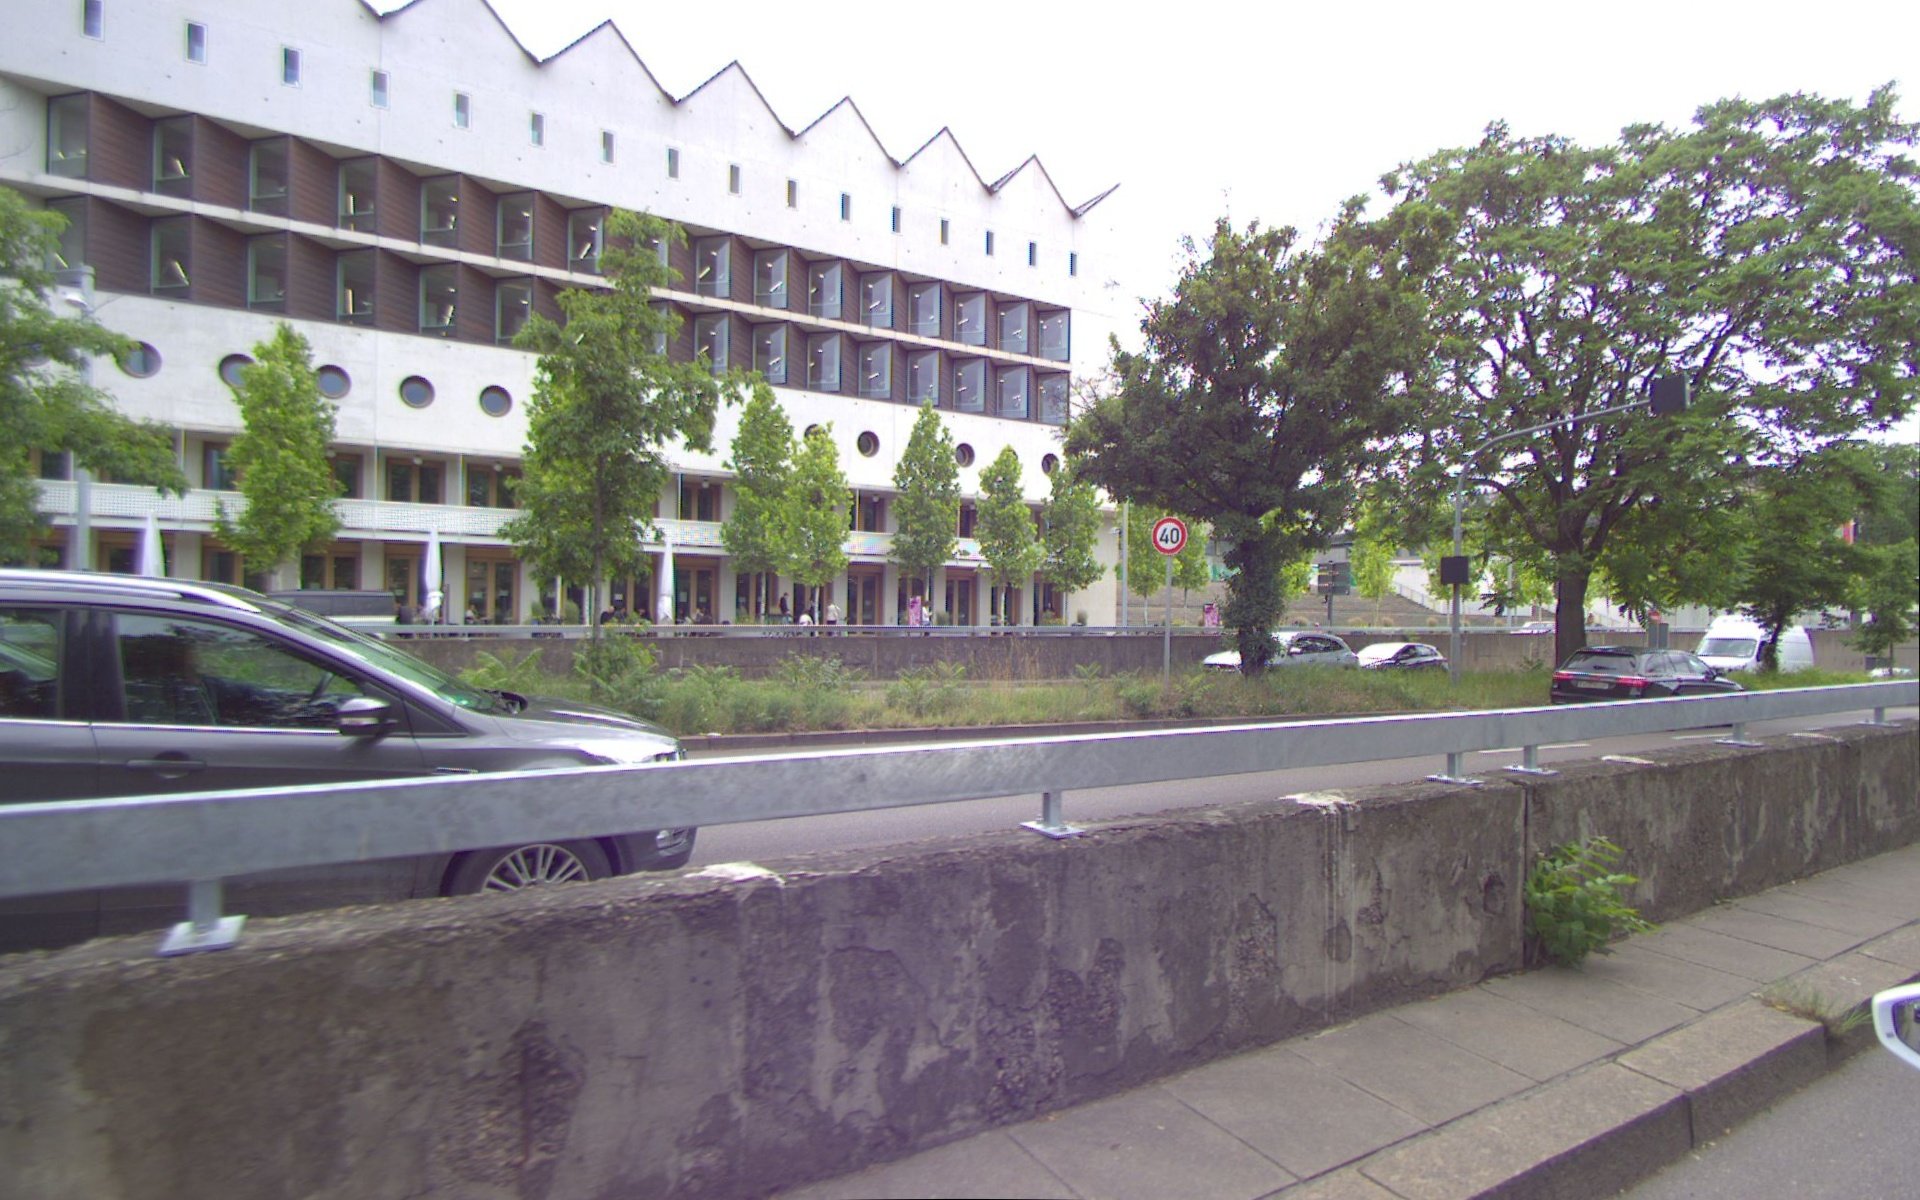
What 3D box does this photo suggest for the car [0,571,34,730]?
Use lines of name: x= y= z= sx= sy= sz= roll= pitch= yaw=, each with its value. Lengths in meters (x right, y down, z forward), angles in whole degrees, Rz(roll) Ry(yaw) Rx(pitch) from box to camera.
car: x=-12.620 y=0.522 z=10.222 sx=4.398 sy=1.740 sz=1.846 roll=1 pitch=-2 yaw=-34

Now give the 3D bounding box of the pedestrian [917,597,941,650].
pedestrian: x=-1.234 y=0.918 z=39.817 sx=0.623 sy=2.040 sz=0.629 roll=2 pitch=1 yaw=-30

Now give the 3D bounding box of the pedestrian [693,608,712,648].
pedestrian: x=-10.821 y=1.193 z=42.202 sx=0.623 sy=1.656 sz=0.629 roll=2 pitch=-1 yaw=-30

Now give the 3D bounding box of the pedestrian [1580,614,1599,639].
pedestrian: x=42.748 y=1.777 z=68.219 sx=0.993 sy=1.662 sz=0.731 roll=1 pitch=0 yaw=-31

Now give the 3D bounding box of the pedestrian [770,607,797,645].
pedestrian: x=-7.393 y=1.091 z=42.034 sx=0.905 sy=1.543 sz=0.626 roll=1 pitch=0 yaw=-44

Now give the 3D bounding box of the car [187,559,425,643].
car: x=-14.704 y=0.072 z=22.827 sx=4.345 sy=1.740 sz=1.846 roll=1 pitch=-2 yaw=-33

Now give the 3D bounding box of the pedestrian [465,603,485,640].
pedestrian: x=-18.385 y=0.813 z=38.068 sx=0.643 sy=1.345 sz=0.630 roll=1 pitch=0 yaw=-28

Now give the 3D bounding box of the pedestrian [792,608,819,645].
pedestrian: x=-6.441 y=1.093 z=41.836 sx=0.626 sy=1.543 sz=0.906 roll=0 pitch=0 yaw=44

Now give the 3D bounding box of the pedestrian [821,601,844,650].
pedestrian: x=-5.586 y=1.122 z=44.021 sx=0.731 sy=2.037 sz=0.707 roll=3 pitch=-10 yaw=-35

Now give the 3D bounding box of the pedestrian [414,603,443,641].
pedestrian: x=-19.113 y=0.794 z=36.128 sx=0.657 sy=1.345 sz=0.790 roll=1 pitch=0 yaw=-3

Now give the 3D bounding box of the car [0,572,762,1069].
car: x=-3.423 y=0.761 z=4.546 sx=4.604 sy=1.738 sz=1.884 roll=1 pitch=1 yaw=-31

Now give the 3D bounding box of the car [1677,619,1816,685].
car: x=29.219 y=1.912 z=37.249 sx=6.142 sy=2.194 sz=1.965 roll=2 pitch=0 yaw=-31

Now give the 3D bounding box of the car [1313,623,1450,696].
car: x=13.182 y=1.833 z=31.399 sx=3.957 sy=2.040 sz=1.982 roll=2 pitch=1 yaw=-33

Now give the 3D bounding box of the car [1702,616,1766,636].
car: x=51.428 y=1.705 z=66.701 sx=4.755 sy=1.133 sz=1.799 roll=2 pitch=1 yaw=-32

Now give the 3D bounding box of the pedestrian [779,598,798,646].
pedestrian: x=-7.510 y=0.971 z=44.027 sx=0.623 sy=2.040 sz=0.629 roll=2 pitch=-2 yaw=-30

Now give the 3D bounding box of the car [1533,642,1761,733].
car: x=13.442 y=1.645 z=19.582 sx=4.807 sy=1.479 sz=1.803 roll=2 pitch=0 yaw=-31

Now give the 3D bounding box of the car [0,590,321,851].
car: x=-6.810 y=0.681 z=6.177 sx=4.753 sy=1.502 sz=1.984 roll=1 pitch=0 yaw=-31

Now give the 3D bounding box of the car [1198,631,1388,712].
car: x=7.905 y=1.616 z=23.757 sx=4.393 sy=1.740 sz=1.848 roll=1 pitch=-1 yaw=-30

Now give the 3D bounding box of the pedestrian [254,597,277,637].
pedestrian: x=-24.212 y=0.592 z=35.042 sx=0.559 sy=1.344 sz=0.516 roll=3 pitch=-2 yaw=-30
